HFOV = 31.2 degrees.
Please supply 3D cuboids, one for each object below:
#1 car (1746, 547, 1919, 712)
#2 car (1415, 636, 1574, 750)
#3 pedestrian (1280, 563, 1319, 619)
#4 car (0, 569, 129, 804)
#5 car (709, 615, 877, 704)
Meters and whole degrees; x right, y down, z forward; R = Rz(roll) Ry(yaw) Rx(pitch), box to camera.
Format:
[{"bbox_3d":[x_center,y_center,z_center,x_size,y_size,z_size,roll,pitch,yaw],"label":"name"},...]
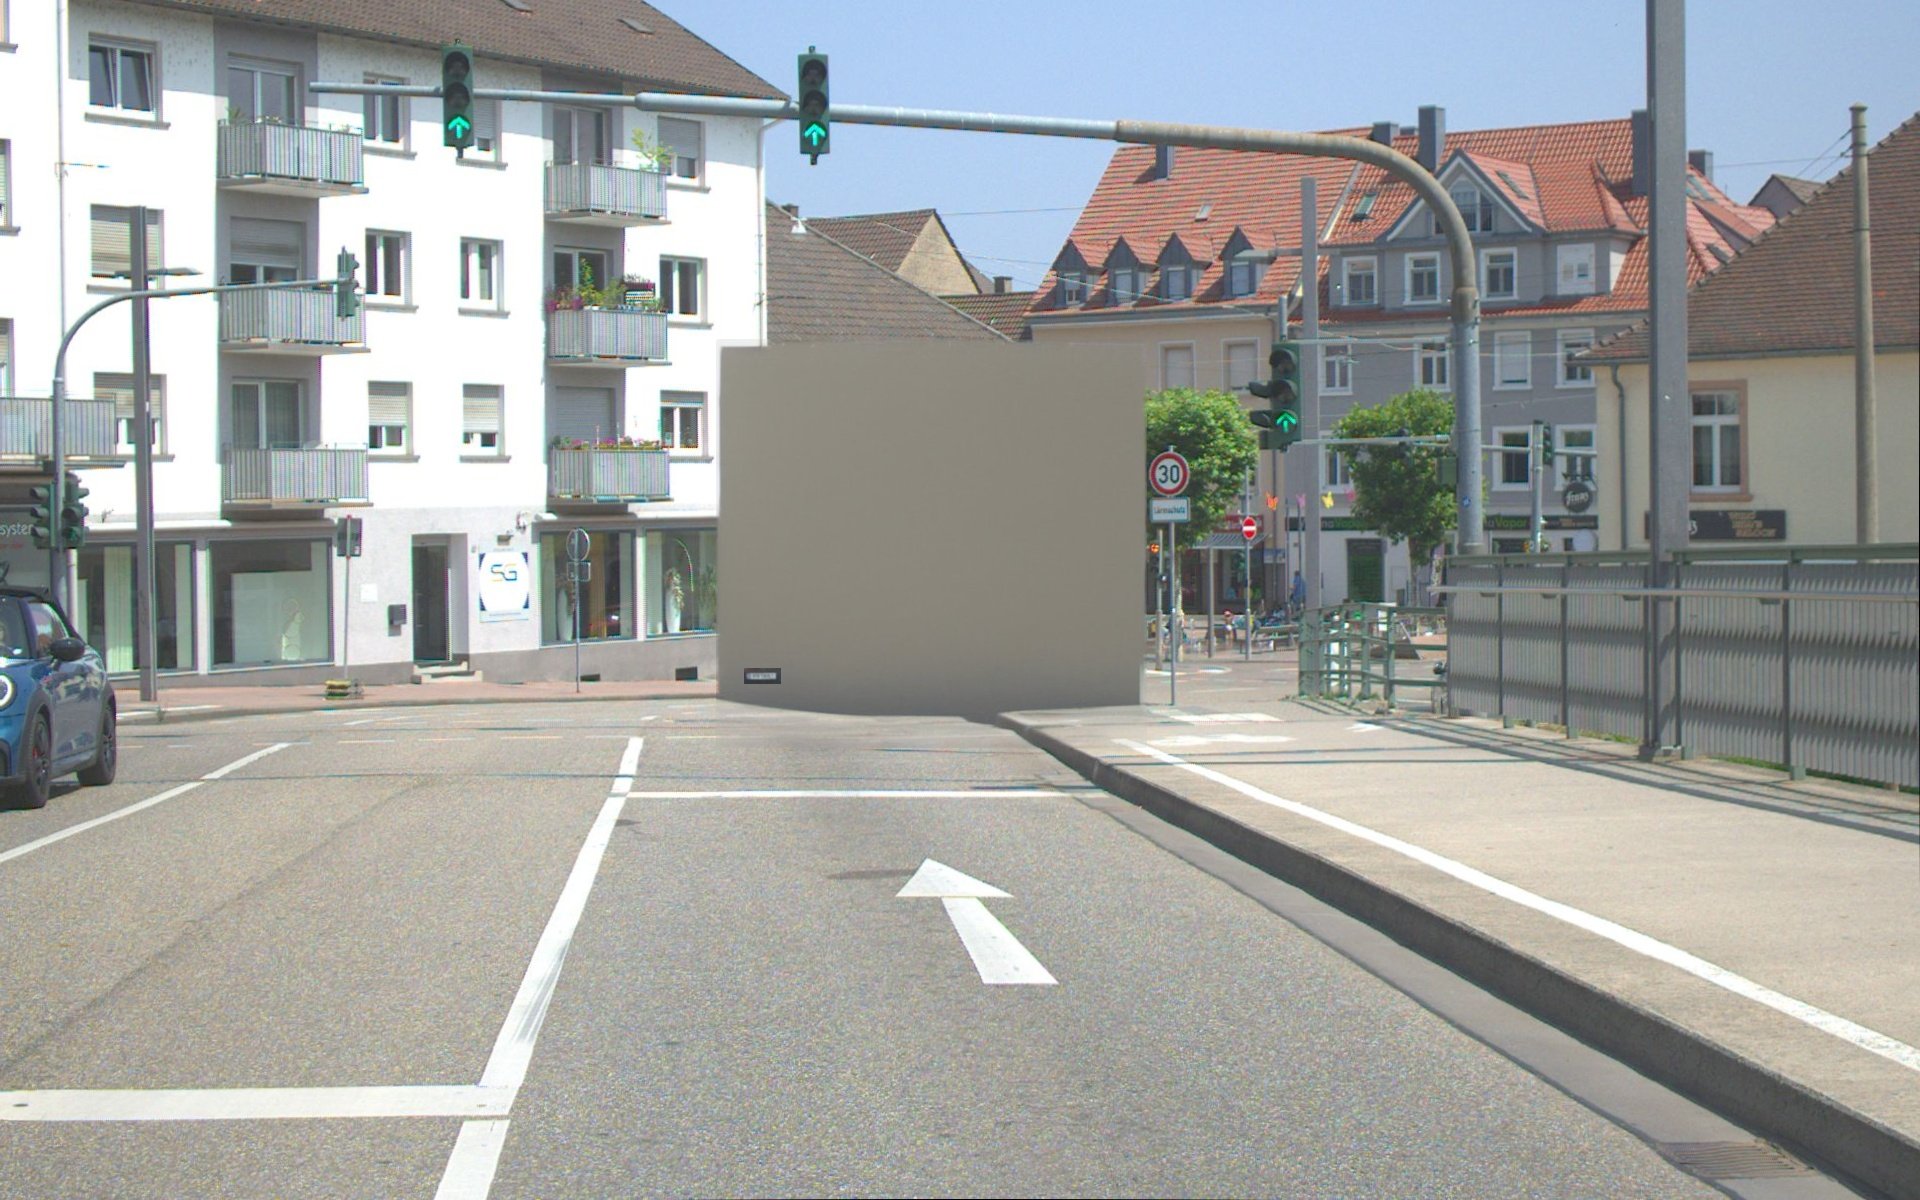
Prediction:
[{"bbox_3d":[15.884,0.460,55.934,5.624,2.619,2.238,1,1,30],"label":"car"},{"bbox_3d":[7.455,1.272,48.254,1.752,1.466,4.253,1,0,3],"label":"car"},{"bbox_3d":[12.263,-0.336,124.308,1.032,1.974,1.018,2,2,32],"label":"pedestrian"},{"bbox_3d":[-6.697,0.541,22.830,1.656,1.435,3.756,-2,0,-4],"label":"car"},{"bbox_3d":[-2.974,1.056,62.135,1.678,1.483,3.951,-2,-1,18],"label":"car"}]
